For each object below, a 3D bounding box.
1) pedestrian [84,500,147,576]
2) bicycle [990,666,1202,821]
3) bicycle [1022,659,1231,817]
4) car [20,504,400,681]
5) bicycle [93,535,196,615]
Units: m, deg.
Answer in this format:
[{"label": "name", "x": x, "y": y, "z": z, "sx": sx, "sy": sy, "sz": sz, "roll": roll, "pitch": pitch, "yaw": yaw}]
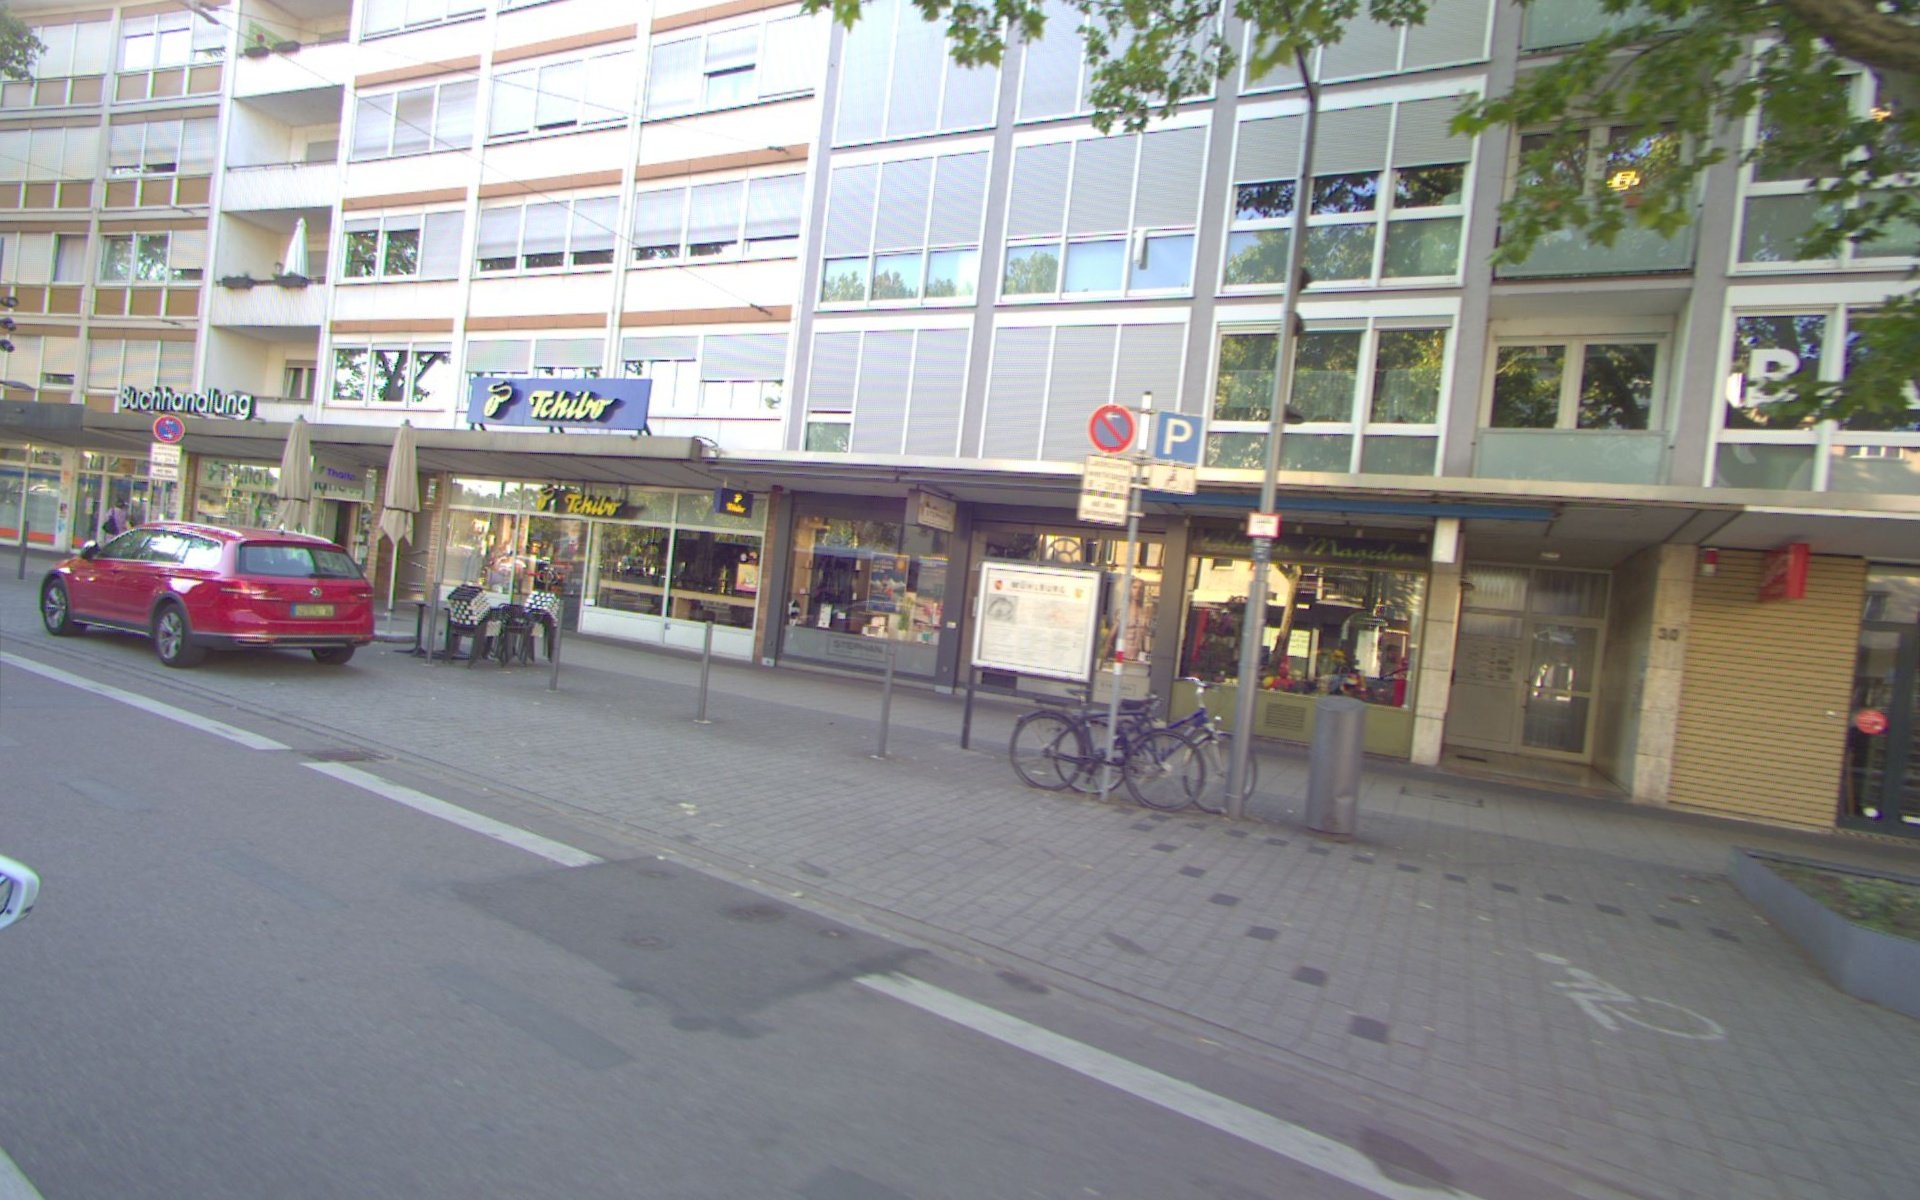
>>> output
[{"label": "pedestrian", "x": -18.970, "y": -1.385, "z": 22.596, "sx": 0.792, "sy": 1.571, "sz": 0.641, "roll": 6, "pitch": 0, "yaw": 18}, {"label": "bicycle", "x": 1.152, "y": 1.204, "z": 8.632, "sx": 1.686, "sy": 1.055, "sz": 0.294, "roll": 7, "pitch": 4, "yaw": 18}, {"label": "bicycle", "x": 1.448, "y": 1.183, "z": 8.837, "sx": 1.686, "sy": 1.116, "sz": 0.294, "roll": 7, "pitch": 4, "yaw": 18}, {"label": "car", "x": -8.834, "y": -0.141, "z": 11.769, "sx": 4.488, "sy": 1.516, "sz": 1.780, "roll": 6, "pitch": 2, "yaw": 28}, {"label": "bicycle", "x": -12.843, "y": -0.394, "z": 15.834, "sx": 1.631, "sy": 1.084, "sz": 0.512, "roll": 7, "pitch": 2, "yaw": 23}]
